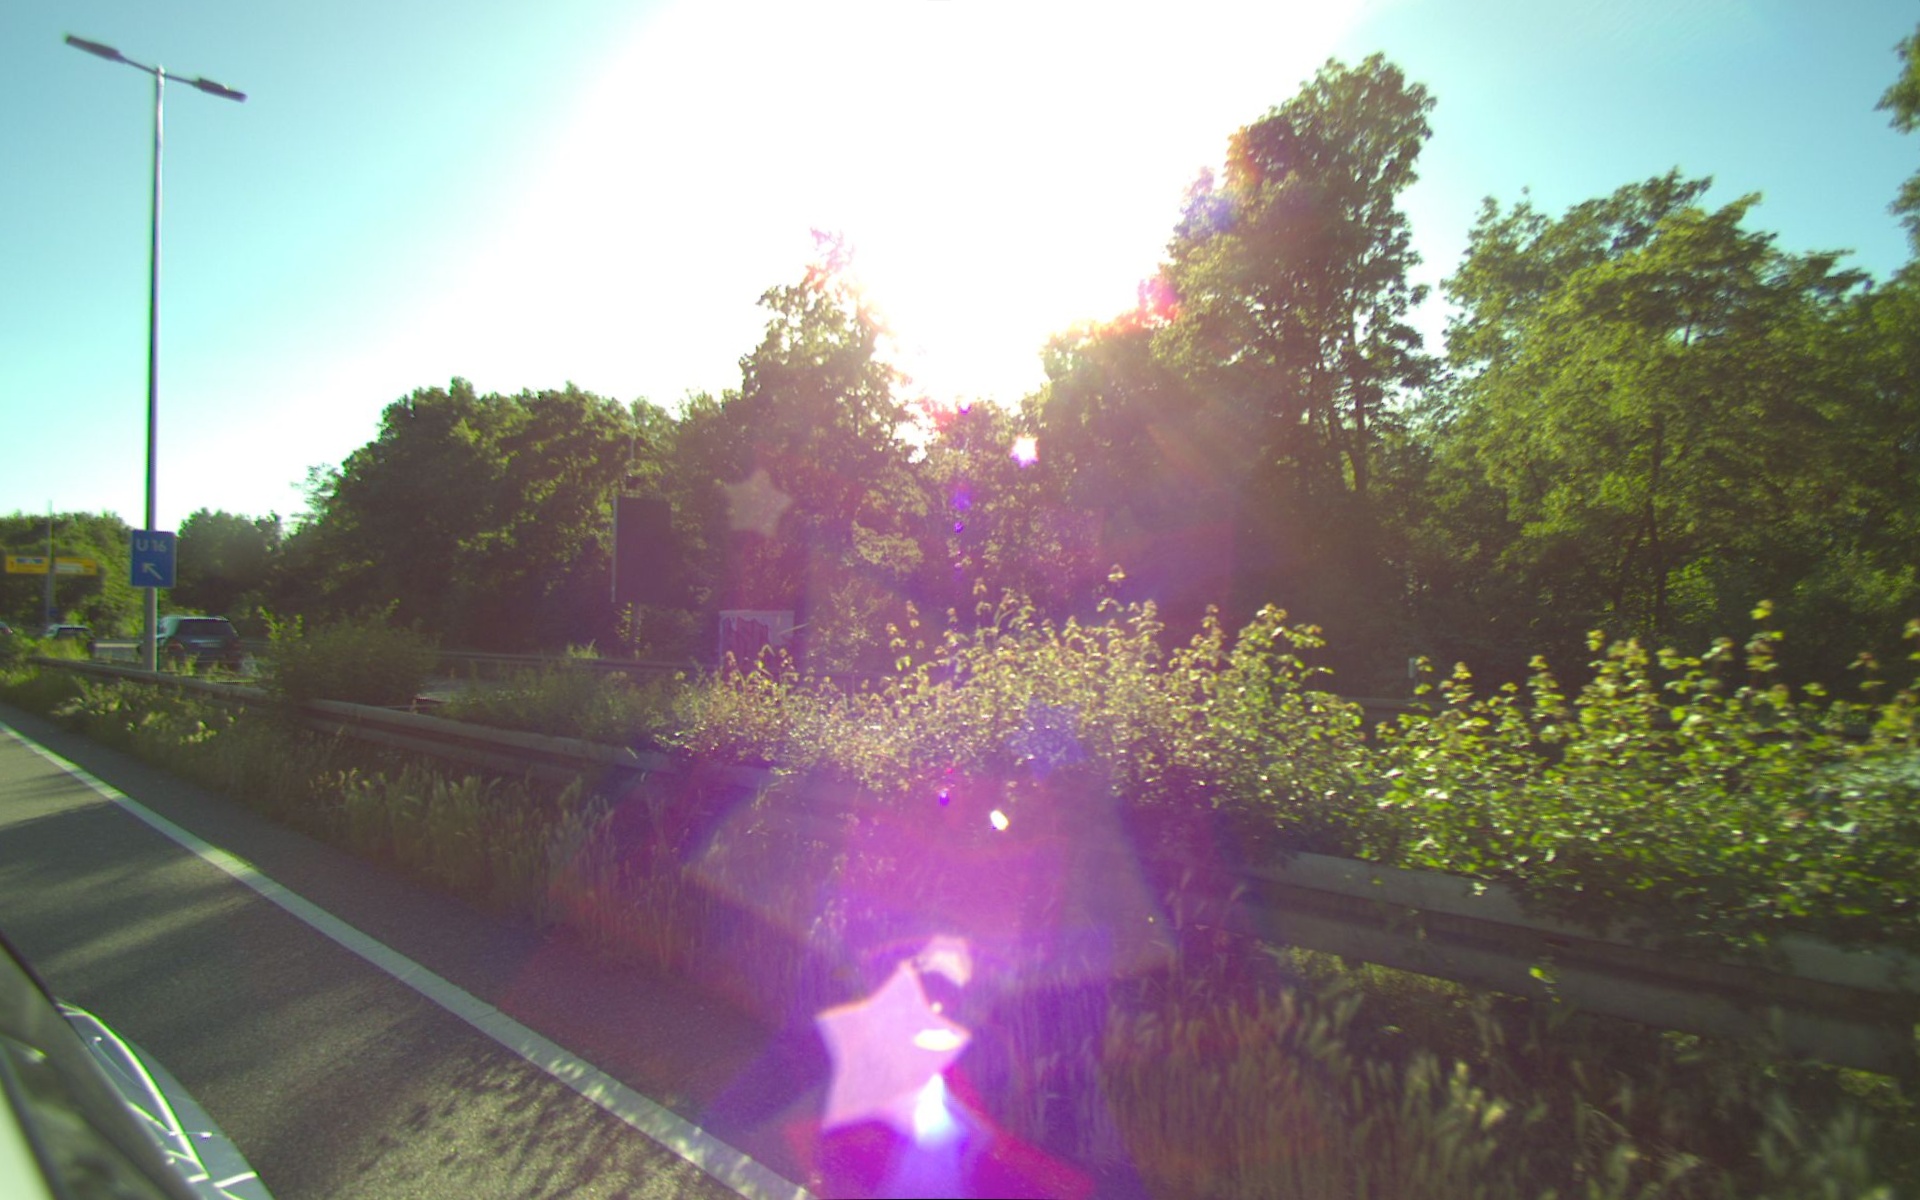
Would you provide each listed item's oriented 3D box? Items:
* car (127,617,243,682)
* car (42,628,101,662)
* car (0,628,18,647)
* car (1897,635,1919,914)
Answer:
[{"bbox_3d":[-23.076,1.431,30.065,4.710,1.771,1.822,-1,-3,42],"label":"car"},{"bbox_3d":[-41.688,2.082,47.452,4.608,1.542,1.600,-1,-3,43],"label":"car"},{"bbox_3d":[-70.337,2.724,74.059,4.553,1.414,1.761,-1,-3,43],"label":"car"},{"bbox_3d":[6.698,0.875,3.865,4.428,1.461,1.733,-1,-2,40],"label":"car"}]
